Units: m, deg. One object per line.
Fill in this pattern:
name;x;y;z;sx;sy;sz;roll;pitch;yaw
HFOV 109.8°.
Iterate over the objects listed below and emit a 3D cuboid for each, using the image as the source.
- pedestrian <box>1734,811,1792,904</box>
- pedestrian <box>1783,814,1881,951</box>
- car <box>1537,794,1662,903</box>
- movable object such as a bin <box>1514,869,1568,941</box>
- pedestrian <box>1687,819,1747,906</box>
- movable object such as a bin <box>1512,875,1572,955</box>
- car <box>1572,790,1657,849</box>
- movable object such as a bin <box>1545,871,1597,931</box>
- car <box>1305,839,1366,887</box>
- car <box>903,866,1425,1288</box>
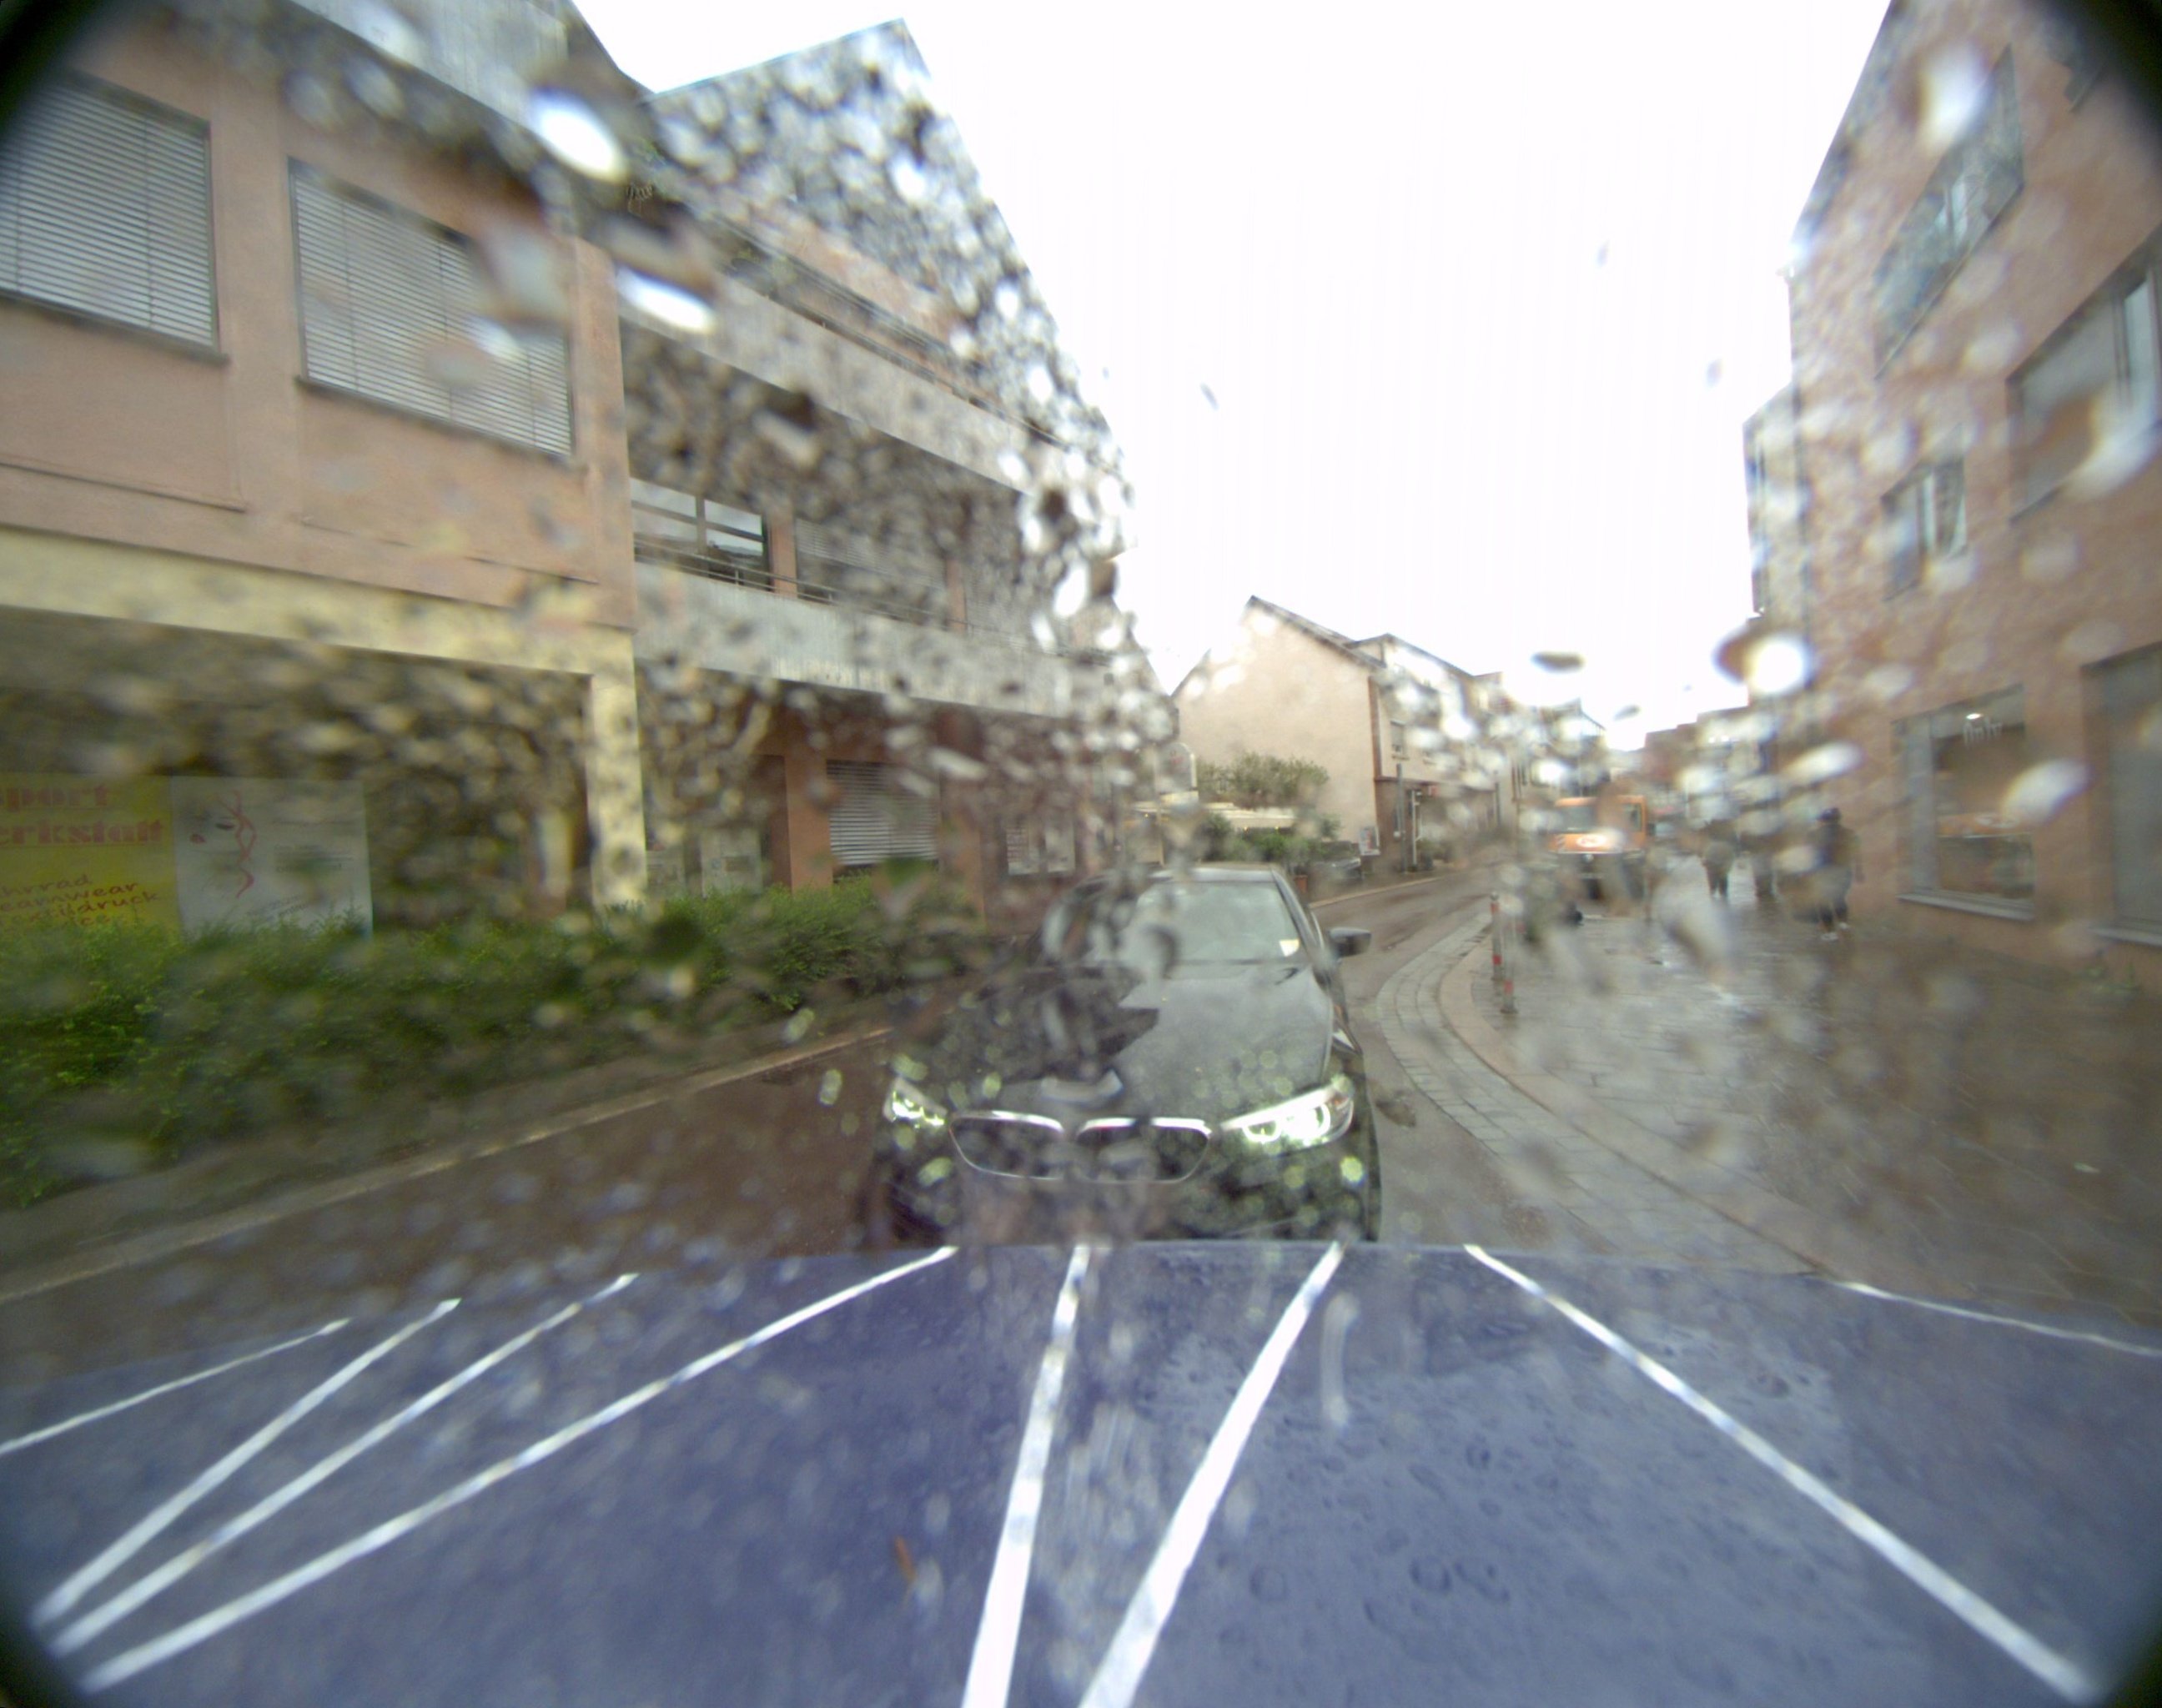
pedestrian;13.001;0.054;14.506;0.623;1.702;0.810;-4;0;33
pedestrian;9.156;0.334;9.289;0.660;1.600;0.685;-3;1;30
car;12.706;-0.200;18.419;1.994;2.227;5.872;-2;1;39
movable object such as a bin;7.003;0.767;11.568;0.657;1.031;0.611;-2;1;31
pedestrian;12.427;0.167;14.869;0.715;1.630;0.747;-4;0;33
movable object such as a bin;6.335;0.827;10.448;0.657;1.031;0.611;-3;1;31
car;30.002;-1.866;42.555;2.705;2.857;8.861;-3;0;42
movable object such as a bin;7.938;0.764;12.307;0.582;0.921;0.482;-5;0;41
car;8.422;0.255;25.233;1.735;1.349;3.941;-3;1;18
car;0.660;0.908;5.123;1.945;1.394;4.422;-3;1;10
